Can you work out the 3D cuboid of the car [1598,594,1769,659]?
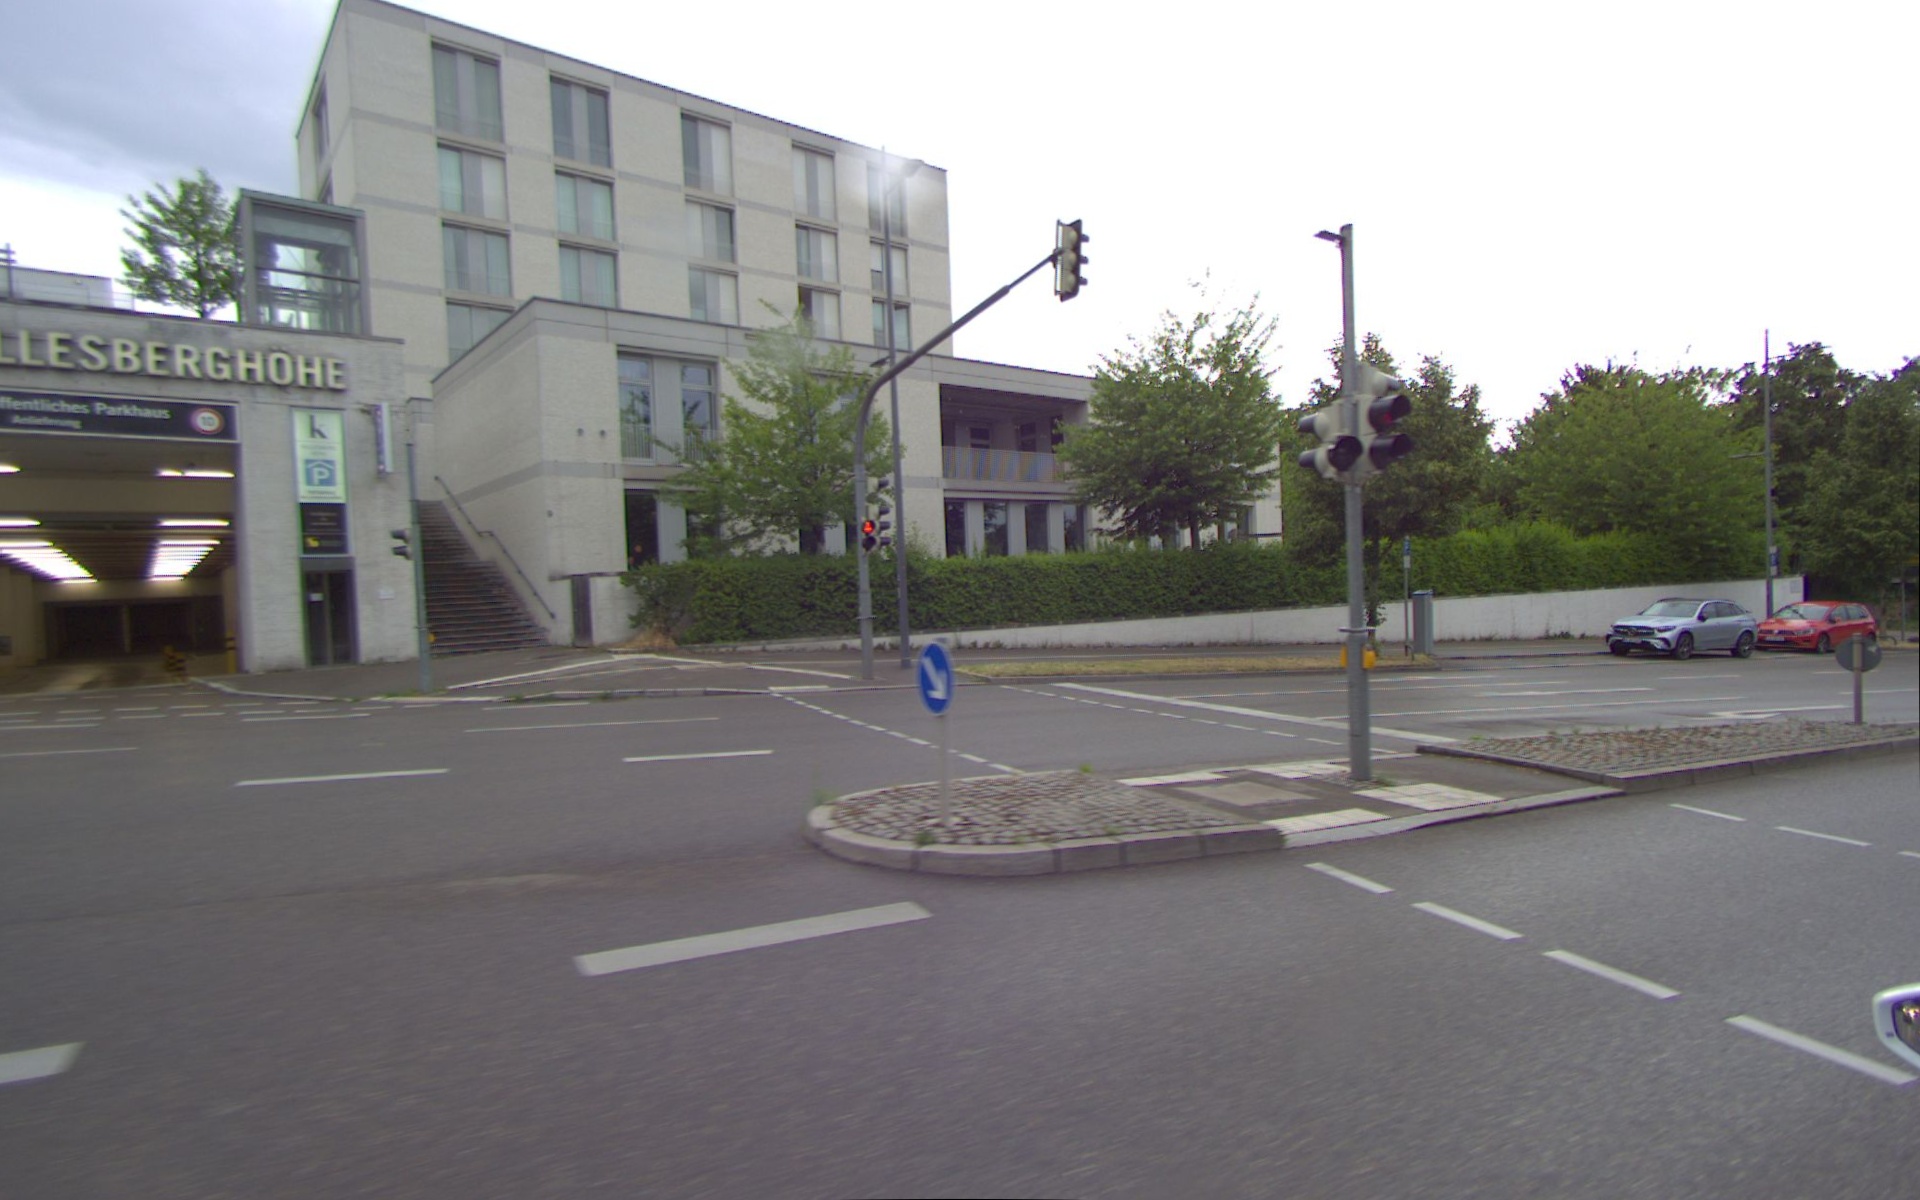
[{"bbox_3d":[20.687,0.737,28.695,4.817,1.676,1.758,1,3,-25],"label":"car"}]

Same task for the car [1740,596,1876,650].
[{"bbox_3d":[26.703,0.703,31.629,4.159,1.608,1.660,1,1,-25],"label":"car"}]
